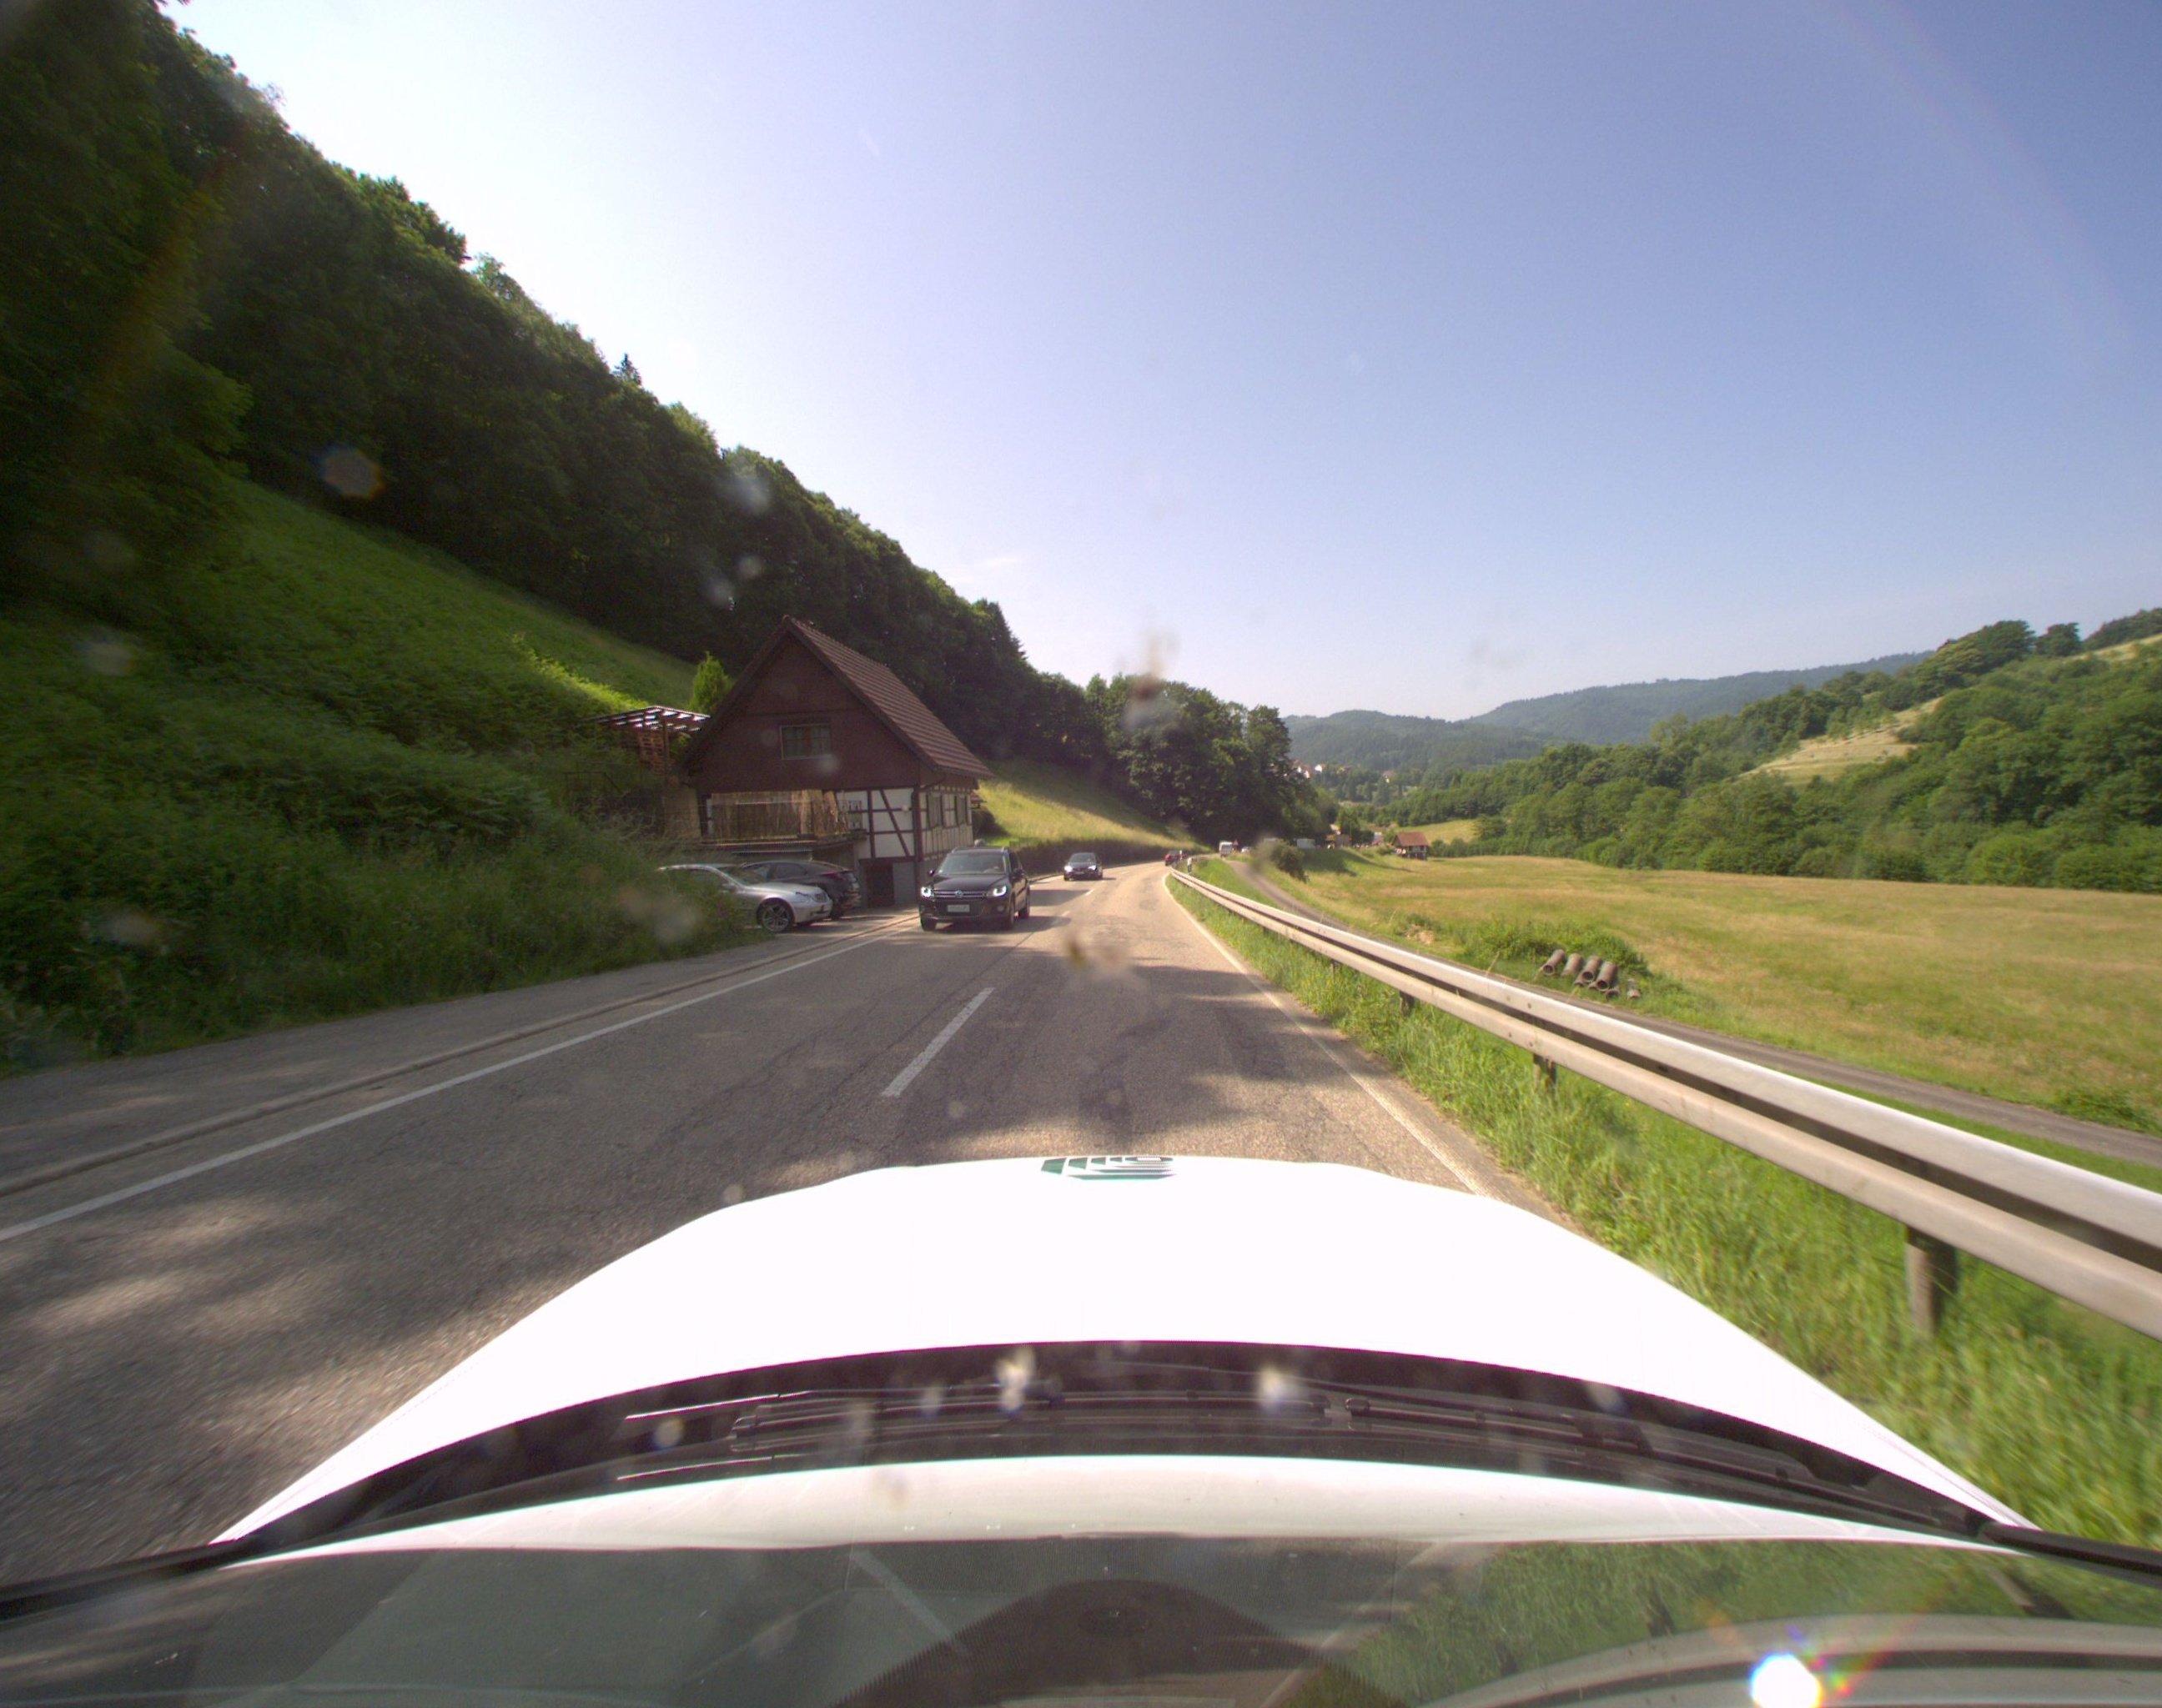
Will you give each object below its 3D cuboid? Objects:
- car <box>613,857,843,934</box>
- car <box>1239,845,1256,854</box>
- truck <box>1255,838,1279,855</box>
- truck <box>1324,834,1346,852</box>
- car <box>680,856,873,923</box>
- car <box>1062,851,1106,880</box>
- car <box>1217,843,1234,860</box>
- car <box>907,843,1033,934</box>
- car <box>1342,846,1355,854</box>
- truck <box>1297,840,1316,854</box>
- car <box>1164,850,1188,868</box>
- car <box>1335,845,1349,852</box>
[{"bbox_3d":[-7.058,0.803,16.535,3.797,1.416,1.860,-1,1,5],"label":"car"},{"bbox_3d":[28.204,-0.788,137.939,1.976,1.484,4.023,3,2,24],"label":"car"},{"bbox_3d":[34.951,-1.492,152.835,2.765,2.997,6.909,3,2,27],"label":"truck"},{"bbox_3d":[63.896,-2.824,204.723,3.158,4.396,6.613,3,2,35],"label":"truck"},{"bbox_3d":[-7.109,0.806,19.264,3.797,1.433,1.867,-1,1,5],"label":"car"},{"bbox_3d":[0.227,0.557,43.558,1.754,1.396,4.156,0,1,9],"label":"car"},{"bbox_3d":[21.390,-0.457,120.371,1.979,2.352,4.934,1,2,14],"label":"car"},{"bbox_3d":[-2.185,0.613,17.217,1.882,1.645,4.260,-1,1,2],"label":"car"},{"bbox_3d":[65.436,-1.065,199.449,1.974,1.925,4.026,2,2,34],"label":"car"},{"bbox_3d":[47.463,-1.501,171.595,2.216,2.804,6.271,1,0,31],"label":"truck"},{"bbox_3d":[8.252,0.402,70.770,1.759,1.335,3.780,1,2,11],"label":"car"},{"bbox_3d":[61.111,-1.251,190.792,1.888,1.485,4.025,5,2,34],"label":"car"}]
